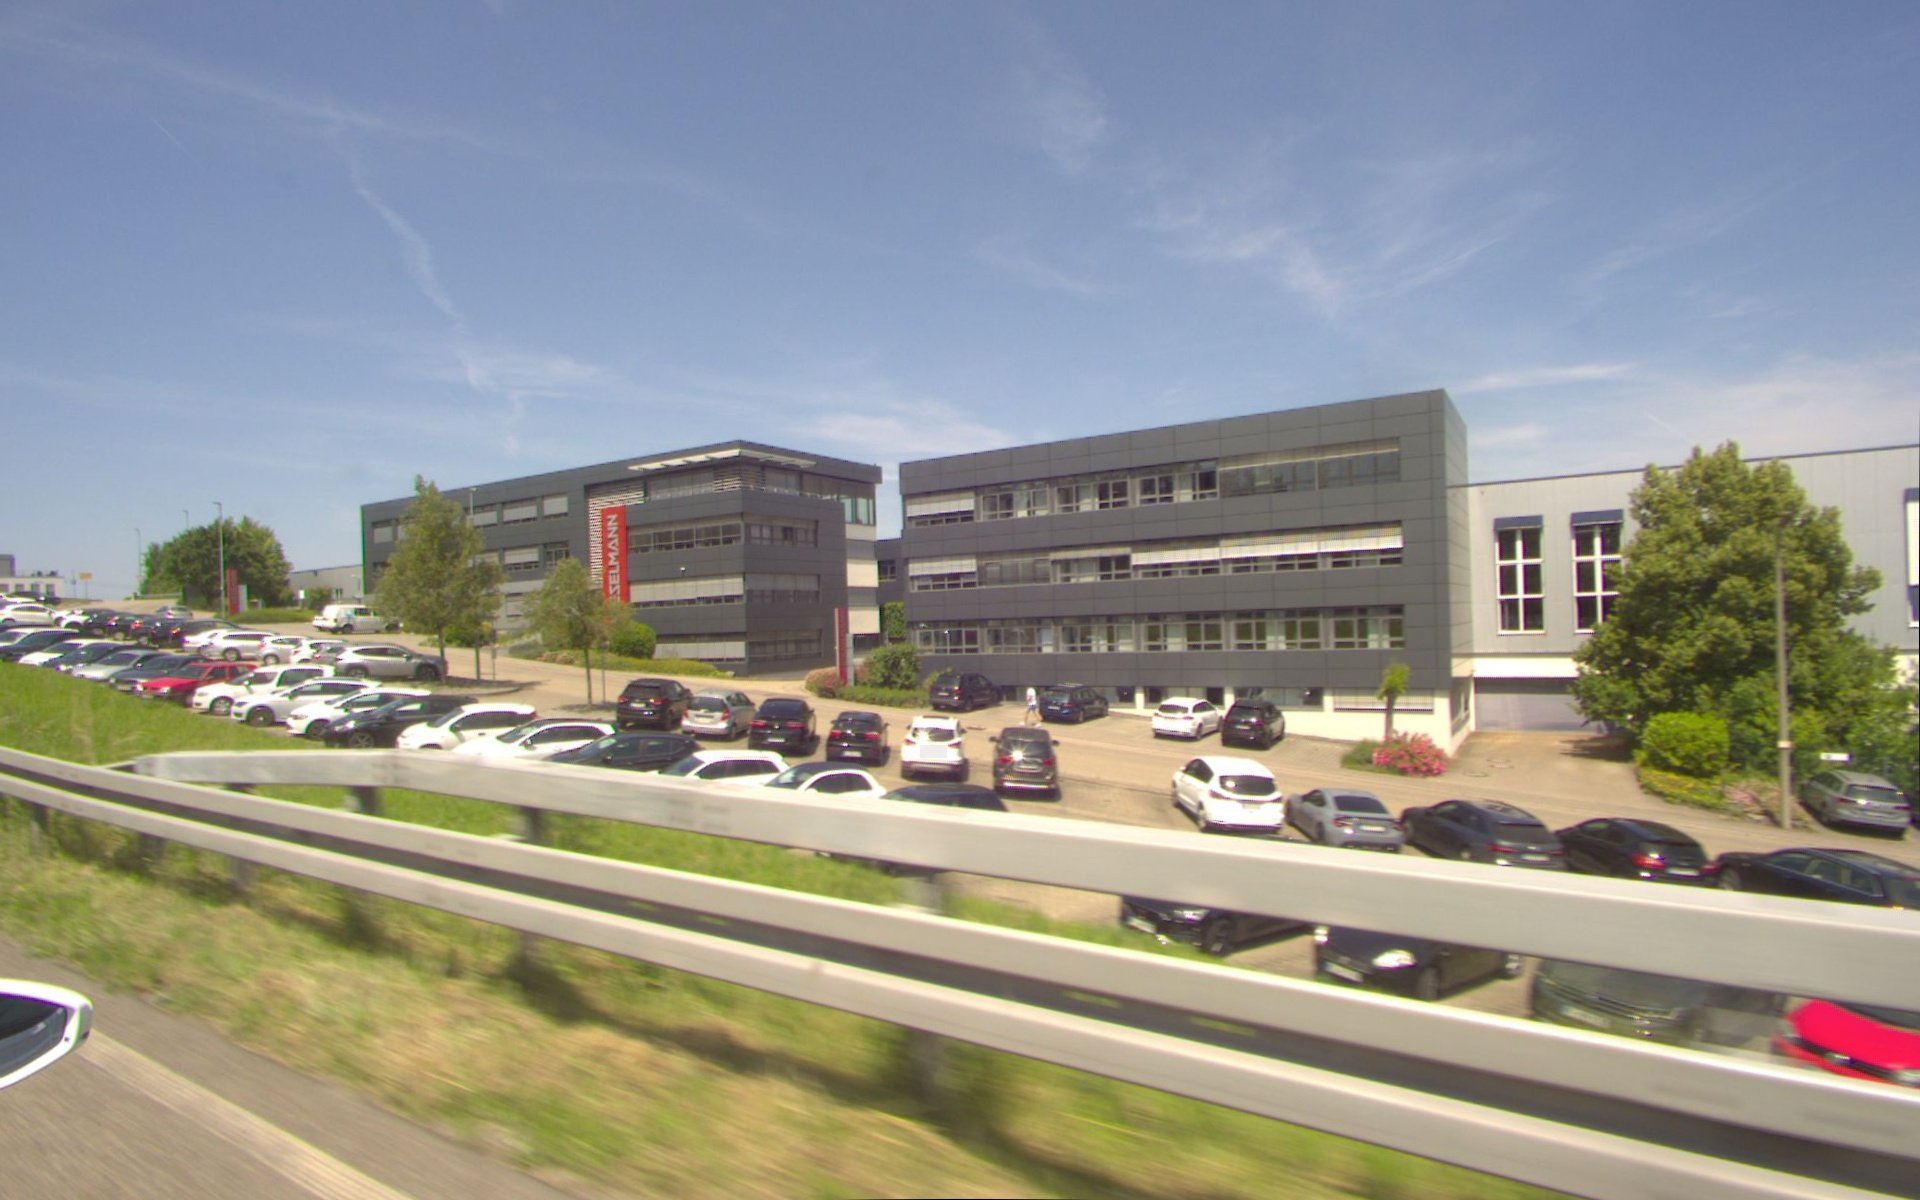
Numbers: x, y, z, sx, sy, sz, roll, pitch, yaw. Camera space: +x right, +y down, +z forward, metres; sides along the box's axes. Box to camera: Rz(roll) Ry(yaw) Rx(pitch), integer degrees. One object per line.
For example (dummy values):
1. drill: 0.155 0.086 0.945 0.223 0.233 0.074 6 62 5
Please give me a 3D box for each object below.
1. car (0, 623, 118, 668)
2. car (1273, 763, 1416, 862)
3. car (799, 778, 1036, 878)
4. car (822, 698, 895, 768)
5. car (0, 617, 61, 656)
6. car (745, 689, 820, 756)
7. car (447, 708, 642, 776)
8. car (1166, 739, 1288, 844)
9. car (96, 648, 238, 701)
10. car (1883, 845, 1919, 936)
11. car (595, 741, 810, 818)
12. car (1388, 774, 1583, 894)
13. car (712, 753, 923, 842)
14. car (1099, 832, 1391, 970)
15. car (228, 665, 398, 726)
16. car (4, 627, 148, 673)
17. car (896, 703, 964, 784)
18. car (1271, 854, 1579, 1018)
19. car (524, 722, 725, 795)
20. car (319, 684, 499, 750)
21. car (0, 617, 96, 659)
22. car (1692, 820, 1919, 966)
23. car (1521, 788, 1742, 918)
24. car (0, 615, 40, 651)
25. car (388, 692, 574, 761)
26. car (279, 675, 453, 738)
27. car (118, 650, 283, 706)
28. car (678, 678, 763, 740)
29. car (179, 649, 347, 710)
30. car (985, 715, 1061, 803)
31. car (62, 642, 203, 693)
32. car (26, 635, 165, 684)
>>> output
1. car: -39.522 2.001 43.508 1.851 1.706 4.382 4 -4 5
2. car: 9.099 5.011 24.073 1.756 1.396 4.159 4 0 0
3. car: -0.768 4.366 19.581 4.325 1.508 1.700 7 -4 -34
4. car: -3.166 4.181 32.109 1.785 1.533 4.586 4 0 0
5. car: -44.734 1.645 46.427 1.851 1.706 4.382 4 -4 5
6. car: -5.760 3.952 32.992 1.786 1.533 4.585 4 0 -3
7. car: -10.719 3.688 25.938 4.324 1.473 1.807 7 -4 -33
8. car: 6.633 4.735 25.388 1.756 1.682 4.586 4 0 0
9. car: -29.205 2.742 37.083 1.852 1.706 4.381 5 -4 -4
10. car: 19.711 5.743 18.250 1.755 1.623 4.416 4 -4 2
11. car: -5.798 4.062 22.699 4.320 1.411 1.809 7 -4 -30
12. car: 11.535 5.102 22.385 1.756 1.530 4.410 5 0 -3
13. car: -2.986 4.160 21.394 4.077 1.536 1.668 7 -4 -34
14. car: 4.711 4.755 16.320 4.666 1.506 1.903 7 -4 -32
15. car: -20.666 3.079 32.228 4.317 1.578 1.879 6 -4 -28
16. car: -37.150 2.162 42.273 1.851 1.706 4.382 4 -4 5
17. car: -0.842 4.249 30.316 1.785 1.682 4.586 4 0 0
18. car: 7.079 4.895 15.106 4.666 1.583 1.949 7 -4 -32
19. car: -8.173 3.894 24.513 4.320 1.473 1.809 7 -4 -30
20. car: -15.812 3.389 28.814 4.324 1.578 1.876 7 -4 -33
21. car: -42.184 1.736 45.389 1.851 1.706 4.382 4 -4 5
22. car: 16.818 5.603 19.586 1.755 1.560 4.411 4 0 2
23. car: 14.080 5.255 21.363 1.755 1.556 4.411 4 0 2
24. car: -47.420 1.510 48.198 1.851 1.706 4.382 4 -4 5
25. car: -13.114 3.498 27.505 4.324 1.578 1.850 7 -4 -33
26. car: -17.926 3.237 30.344 4.324 1.578 1.876 7 -4 -33
27. car: -26.460 2.738 35.094 1.852 1.706 4.380 4 -4 11
28. car: -8.363 3.778 35.346 1.785 1.560 4.586 4 0 0
29. car: -23.348 2.707 33.717 4.409 1.706 1.875 7 -4 -36
30. car: 1.713 4.434 28.584 1.756 1.682 4.586 4 0 0
31. car: -31.843 2.593 38.728 1.852 1.706 4.381 5 -4 -4
32. car: -34.623 2.393 40.279 1.852 1.706 4.381 5 -4 -4
